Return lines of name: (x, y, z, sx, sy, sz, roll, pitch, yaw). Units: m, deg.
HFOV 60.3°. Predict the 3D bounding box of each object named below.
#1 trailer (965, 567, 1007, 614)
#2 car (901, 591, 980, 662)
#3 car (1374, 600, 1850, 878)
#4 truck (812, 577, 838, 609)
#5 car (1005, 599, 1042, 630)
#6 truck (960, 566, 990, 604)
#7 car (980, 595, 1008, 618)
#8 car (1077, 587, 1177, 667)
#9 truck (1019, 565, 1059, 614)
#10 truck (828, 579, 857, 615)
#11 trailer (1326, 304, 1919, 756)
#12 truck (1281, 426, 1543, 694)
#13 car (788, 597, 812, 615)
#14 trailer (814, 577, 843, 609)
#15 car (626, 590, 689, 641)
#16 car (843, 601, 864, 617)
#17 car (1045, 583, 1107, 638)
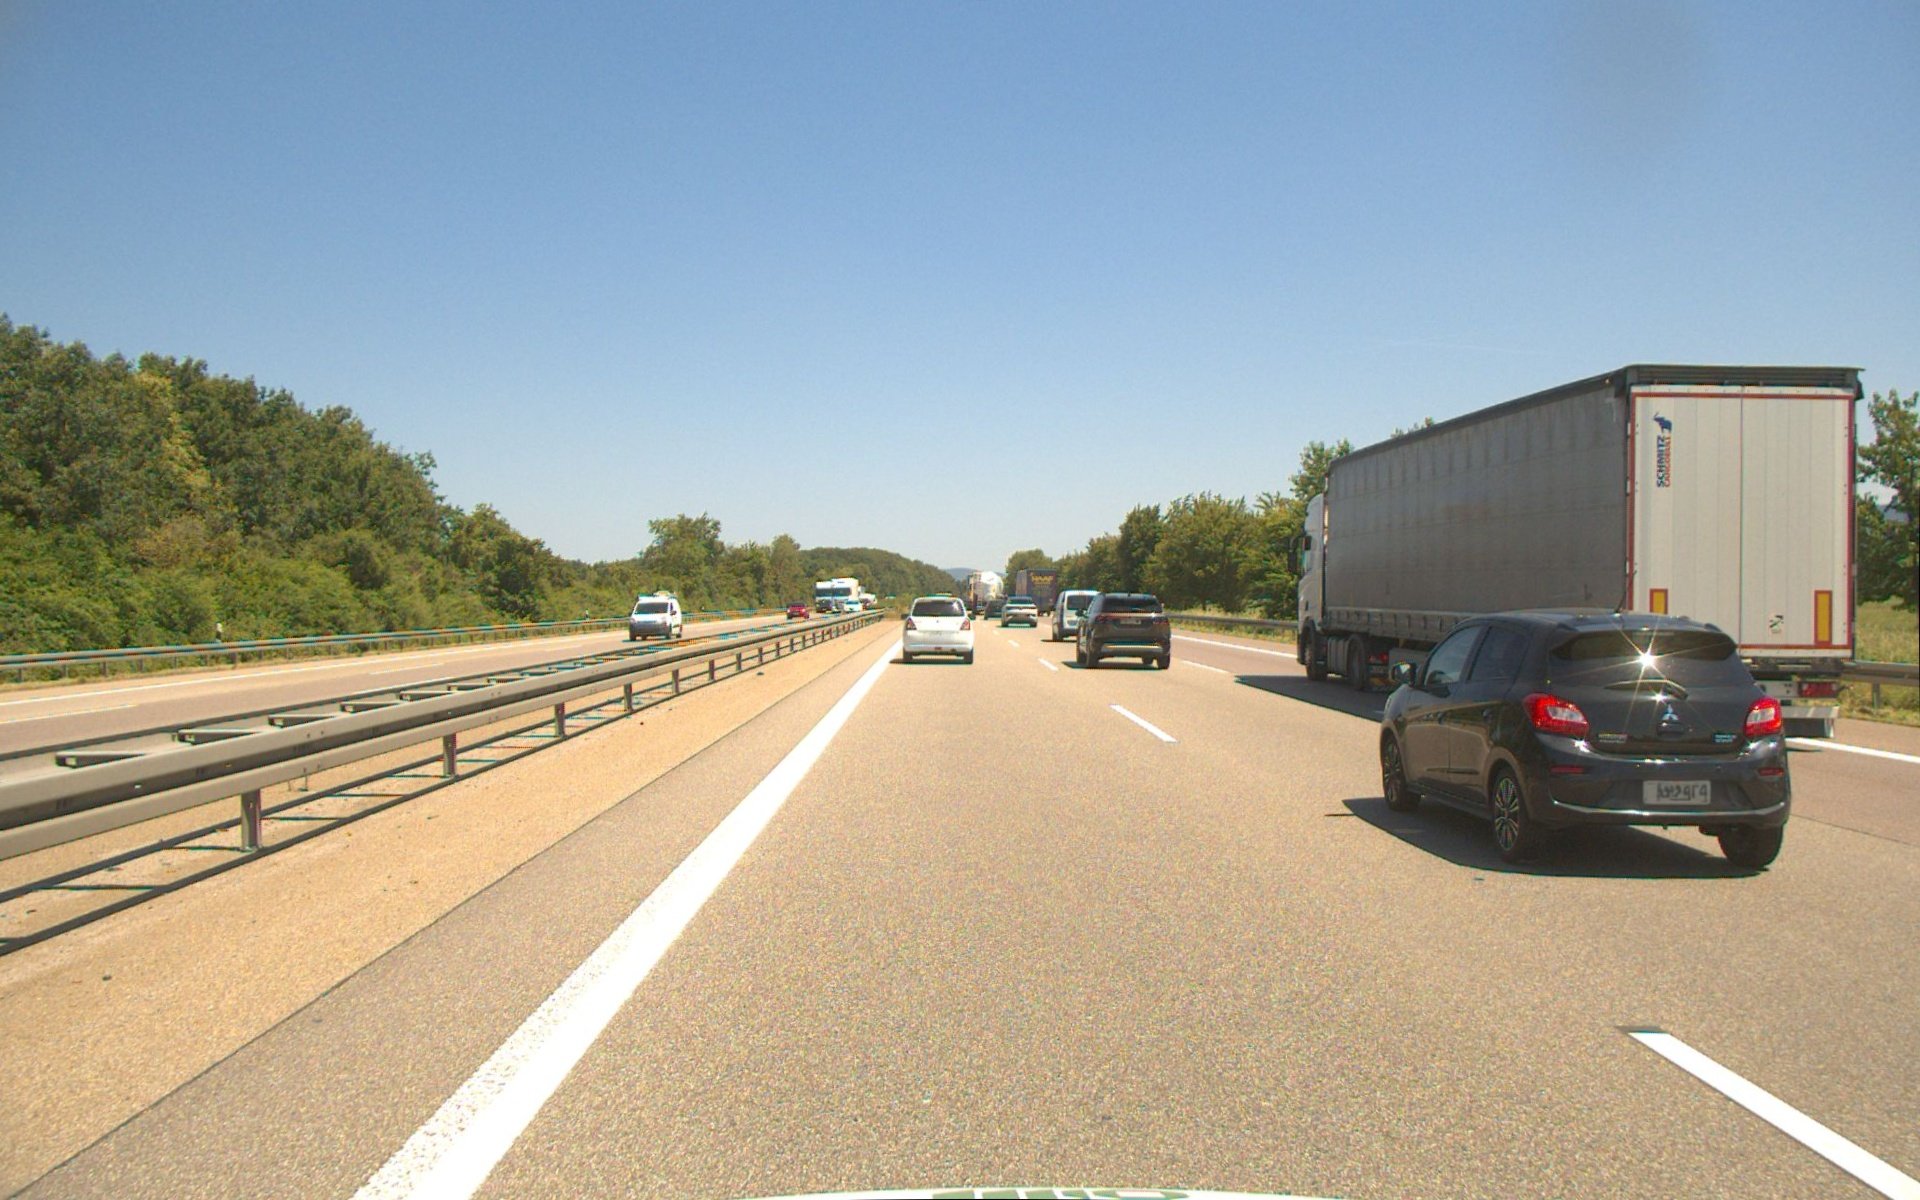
trailer: (2.304, -0.831, 152.901, 2.854, 4.140, 12.408, 1, 0, -4)
car: (-0.475, 0.611, 39.477, 1.762, 1.579, 3.609, 1, 0, -1)
car: (4.003, 0.766, 10.764, 1.653, 1.499, 3.431, 1, 0, -2)
truck: (-17.961, -0.904, 220.492, 2.701, 4.174, 6.151, -3, 0, 0)
car: (3.433, 0.772, 89.868, 1.765, 1.631, 4.380, 1, 0, 0)
truck: (1.797, -1.668, 195.624, 3.325, 4.287, 12.083, 1, 0, 0)
car: (2.412, 0.451, 117.781, 1.812, 1.549, 3.956, 1, 0, 0)
car: (3.793, 0.589, 38.273, 1.829, 1.704, 4.746, 1, 0, 0)
truck: (7.134, -0.925, 151.724, 3.045, 4.211, 15.511, 1, 0, 1)
truck: (-13.974, -0.370, 197.173, 2.684, 4.156, 6.217, -2, 0, 1)
trailer: (8.261, -0.664, 23.284, 2.753, 4.380, 14.250, 1, 0, -1)
truck: (8.141, -0.651, 30.833, 2.753, 4.380, 7.191, 1, 0, -1)
car: (-13.752, 0.538, 142.538, 1.737, 1.442, 4.109, -3, 0, -2)
trailer: (-17.979, -0.897, 226.458, 2.701, 4.174, 14.052, -3, 0, 0)
car: (-12.917, 0.644, 70.851, 1.752, 2.049, 4.380, -3, 0, 0)
car: (-9.979, 0.826, 155.061, 1.684, 1.447, 3.896, -3, 0, -1)
car: (4.195, 0.384, 60.436, 1.815, 1.895, 4.700, 1, 0, -2)
